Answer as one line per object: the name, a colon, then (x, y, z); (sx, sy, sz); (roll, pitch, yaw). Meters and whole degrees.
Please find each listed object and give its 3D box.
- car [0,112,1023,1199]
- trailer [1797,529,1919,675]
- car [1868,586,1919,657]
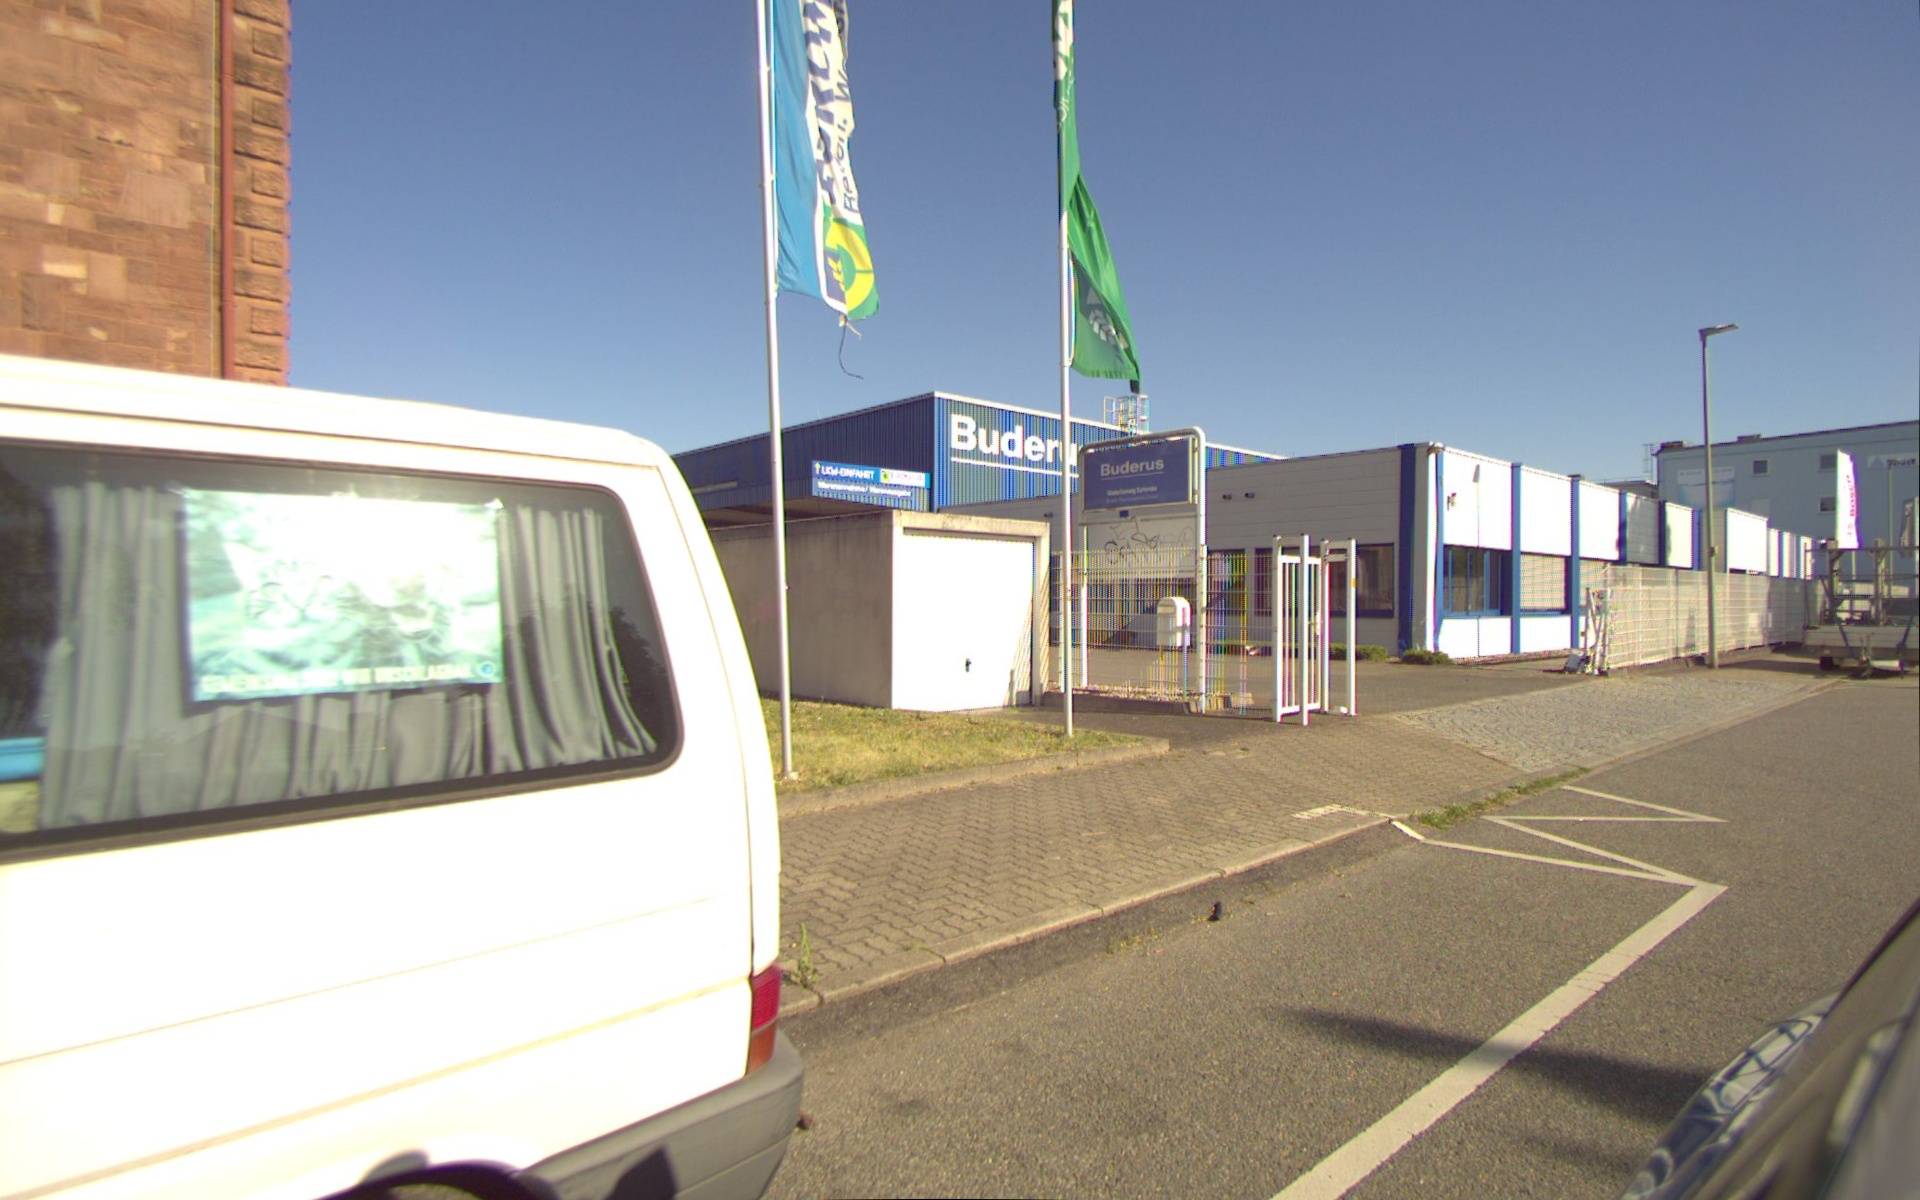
car: (-2.404, 0.487, 1.263); (5.070, 2.039, 1.877); (-1, -1, -41)
trailer: (19.544, 0.019, 21.032); (5.602, 2.706, 2.464); (-1, 0, -41)
car: (24.735, 0.482, 25.623); (4.649, 1.688, 1.997); (-1, -1, -41)
